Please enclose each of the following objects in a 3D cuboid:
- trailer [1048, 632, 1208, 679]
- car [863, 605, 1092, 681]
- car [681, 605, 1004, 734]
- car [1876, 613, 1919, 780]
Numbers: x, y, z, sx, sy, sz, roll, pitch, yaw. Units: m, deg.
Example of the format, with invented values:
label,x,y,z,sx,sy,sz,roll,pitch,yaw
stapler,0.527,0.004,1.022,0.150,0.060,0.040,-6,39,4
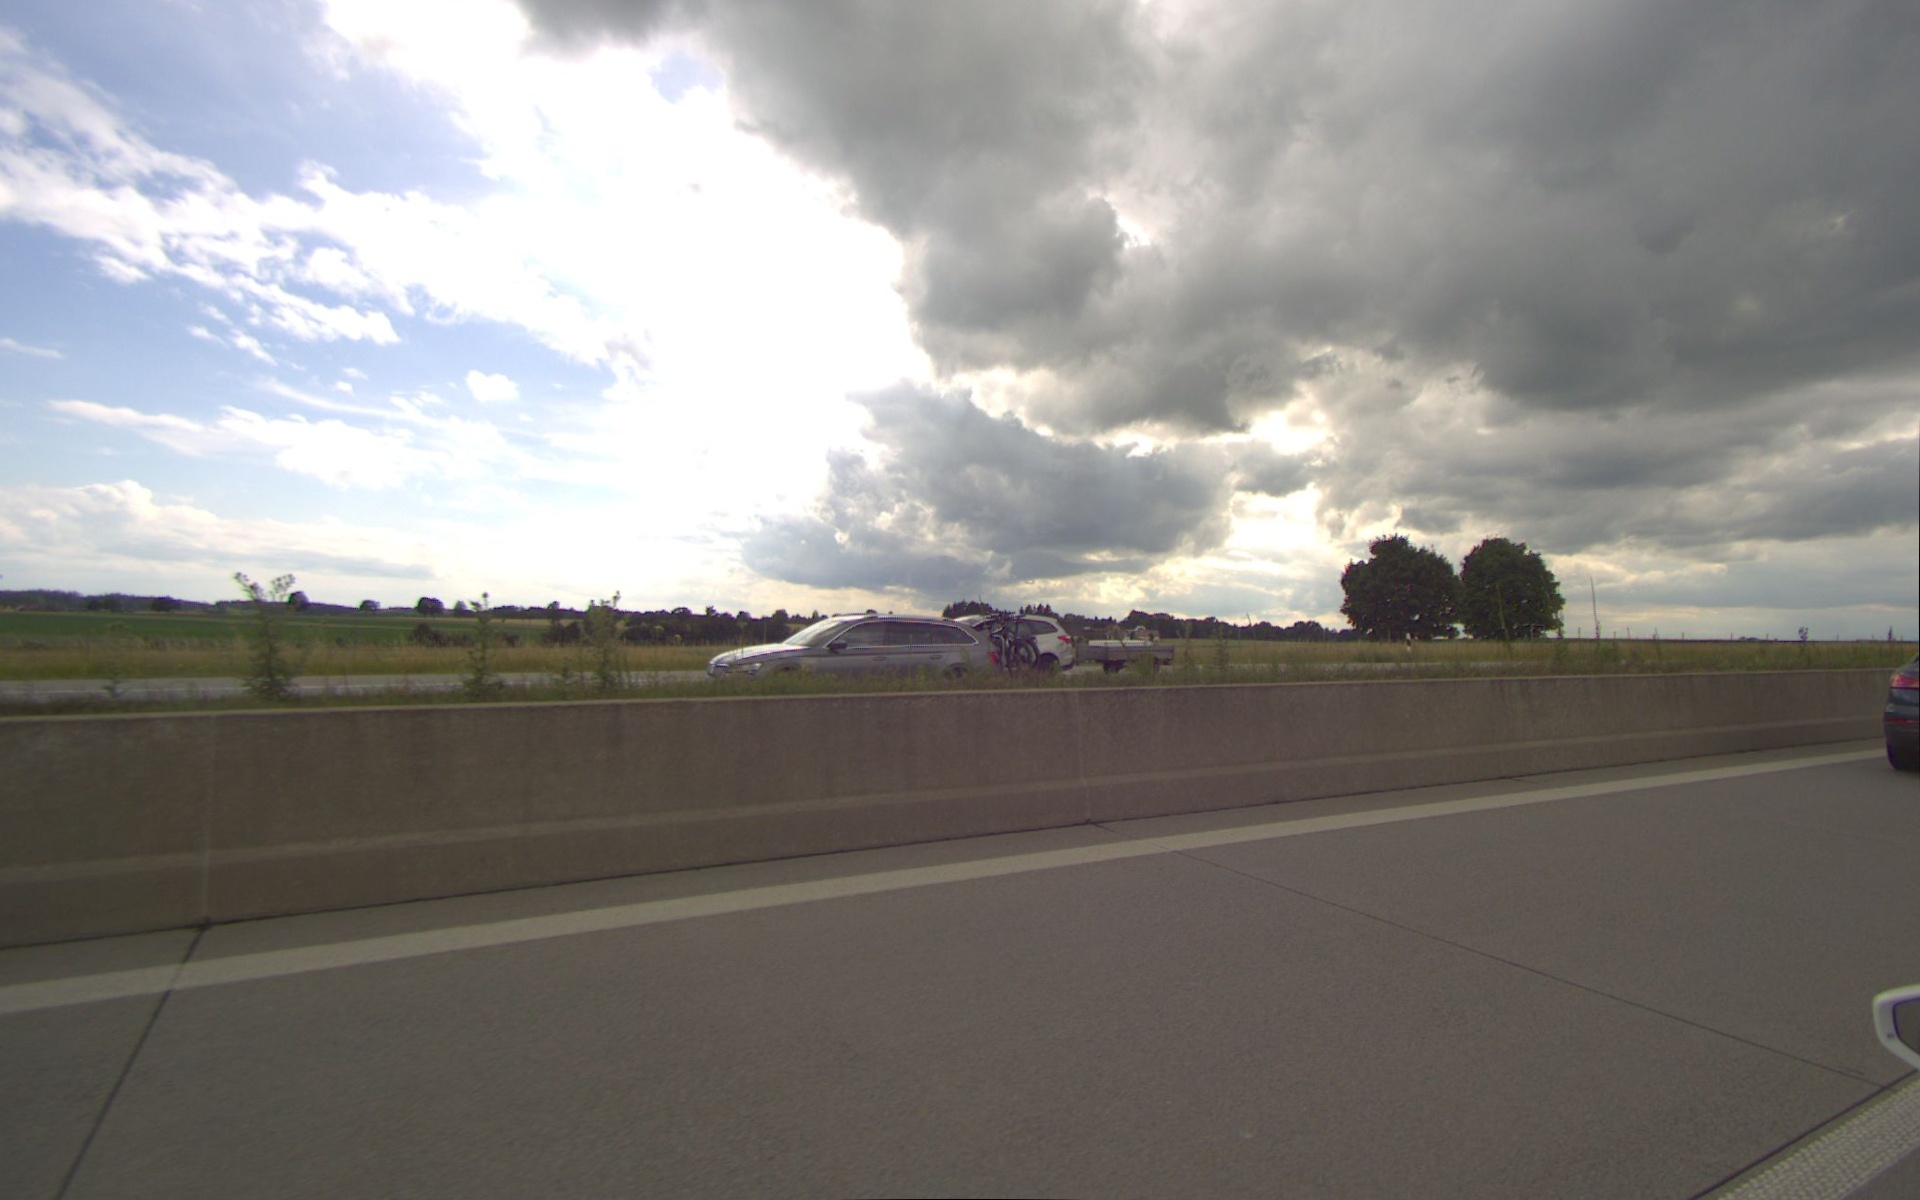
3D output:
label,x,y,z,sx,sy,sz,roll,pitch,yaw
trailer,4.095,1.341,24.413,3.522,0.996,1.778,3,0,-30
car,0.424,0.961,22.328,4.793,1.490,1.888,3,0,-30
car,-1.781,1.038,15.691,4.621,1.716,1.892,3,0,-30
car,11.776,1.009,10.709,5.103,1.617,1.782,2,0,-34
